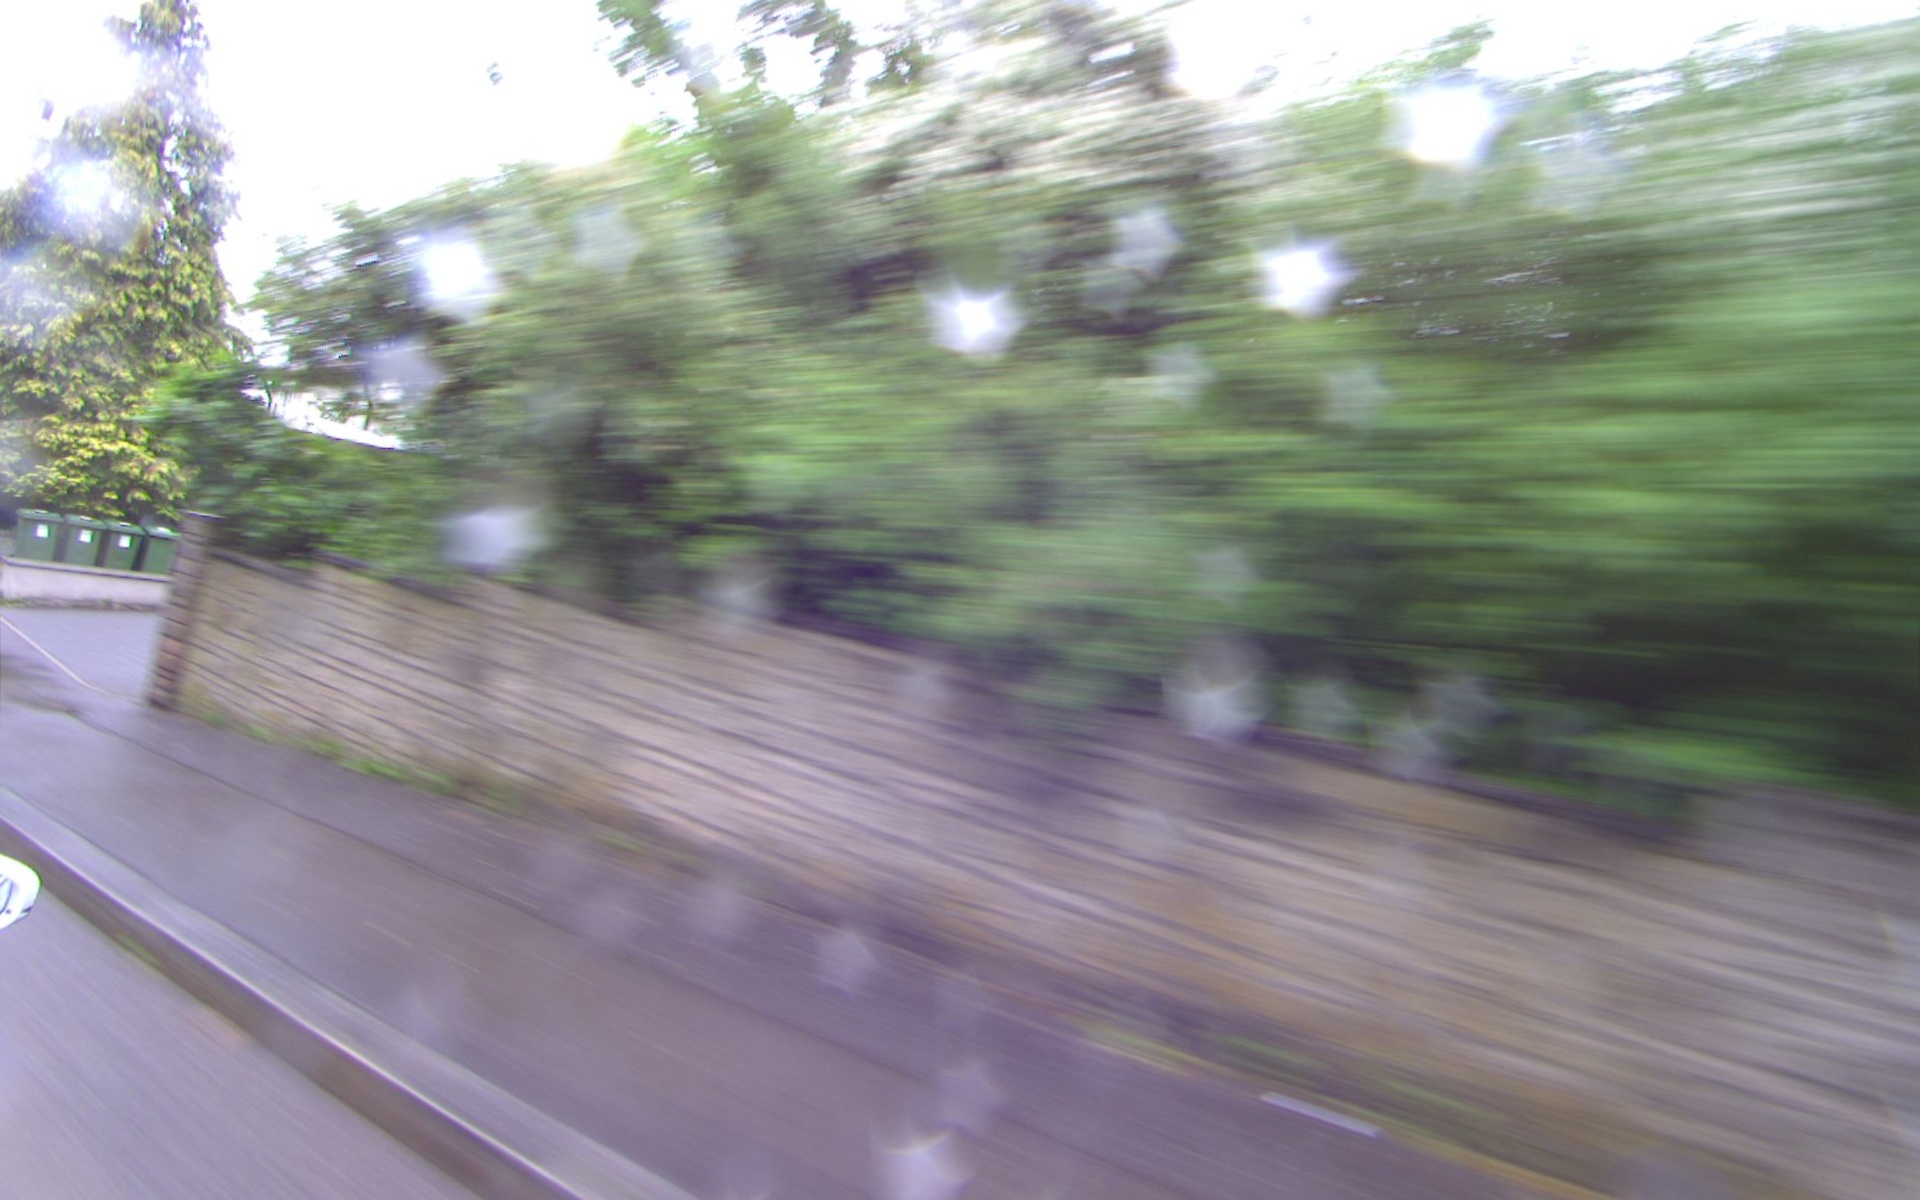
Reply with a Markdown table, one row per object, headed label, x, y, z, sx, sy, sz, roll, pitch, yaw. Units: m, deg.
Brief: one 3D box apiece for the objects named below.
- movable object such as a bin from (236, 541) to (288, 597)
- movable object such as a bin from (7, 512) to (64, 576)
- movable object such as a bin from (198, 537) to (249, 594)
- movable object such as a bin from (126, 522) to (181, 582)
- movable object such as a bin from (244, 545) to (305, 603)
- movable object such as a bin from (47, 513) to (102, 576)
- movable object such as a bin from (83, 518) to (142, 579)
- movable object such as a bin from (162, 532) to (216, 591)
| label | x | y | z | sx | sy | sz | roll | pitch | yaw |
| --- | --- | --- | --- | --- | --- | --- | --- | --- | --- |
| movable object such as a bin | -15.362 | -0.677 | 22.133 | 0.573 | 1.081 | 0.699 | 13 | 6 | 34 |
| movable object such as a bin | -17.217 | -1.042 | 18.736 | 0.691 | 1.079 | 0.561 | 7 | -1 | 35 |
| movable object such as a bin | -15.620 | -0.731 | 21.337 | 0.690 | 1.079 | 0.582 | 7 | -1 | 34 |
| movable object such as a bin | -16.288 | -0.970 | 20.320 | 0.690 | 1.079 | 0.582 | 7 | -1 | 34 |
| movable object such as a bin | -14.797 | -0.558 | 21.729 | 0.697 | 1.081 | 0.814 | 13 | 6 | 34 |
| movable object such as a bin | -16.904 | -1.056 | 19.198 | 0.681 | 1.079 | 0.546 | 7 | -1 | 34 |
| movable object such as a bin | -16.579 | -1.004 | 19.691 | 0.690 | 1.079 | 0.626 | 7 | -1 | 34 |
| movable object such as a bin | -15.935 | -0.794 | 20.806 | 0.690 | 1.098 | 0.602 | 7 | -1 | 34 |
